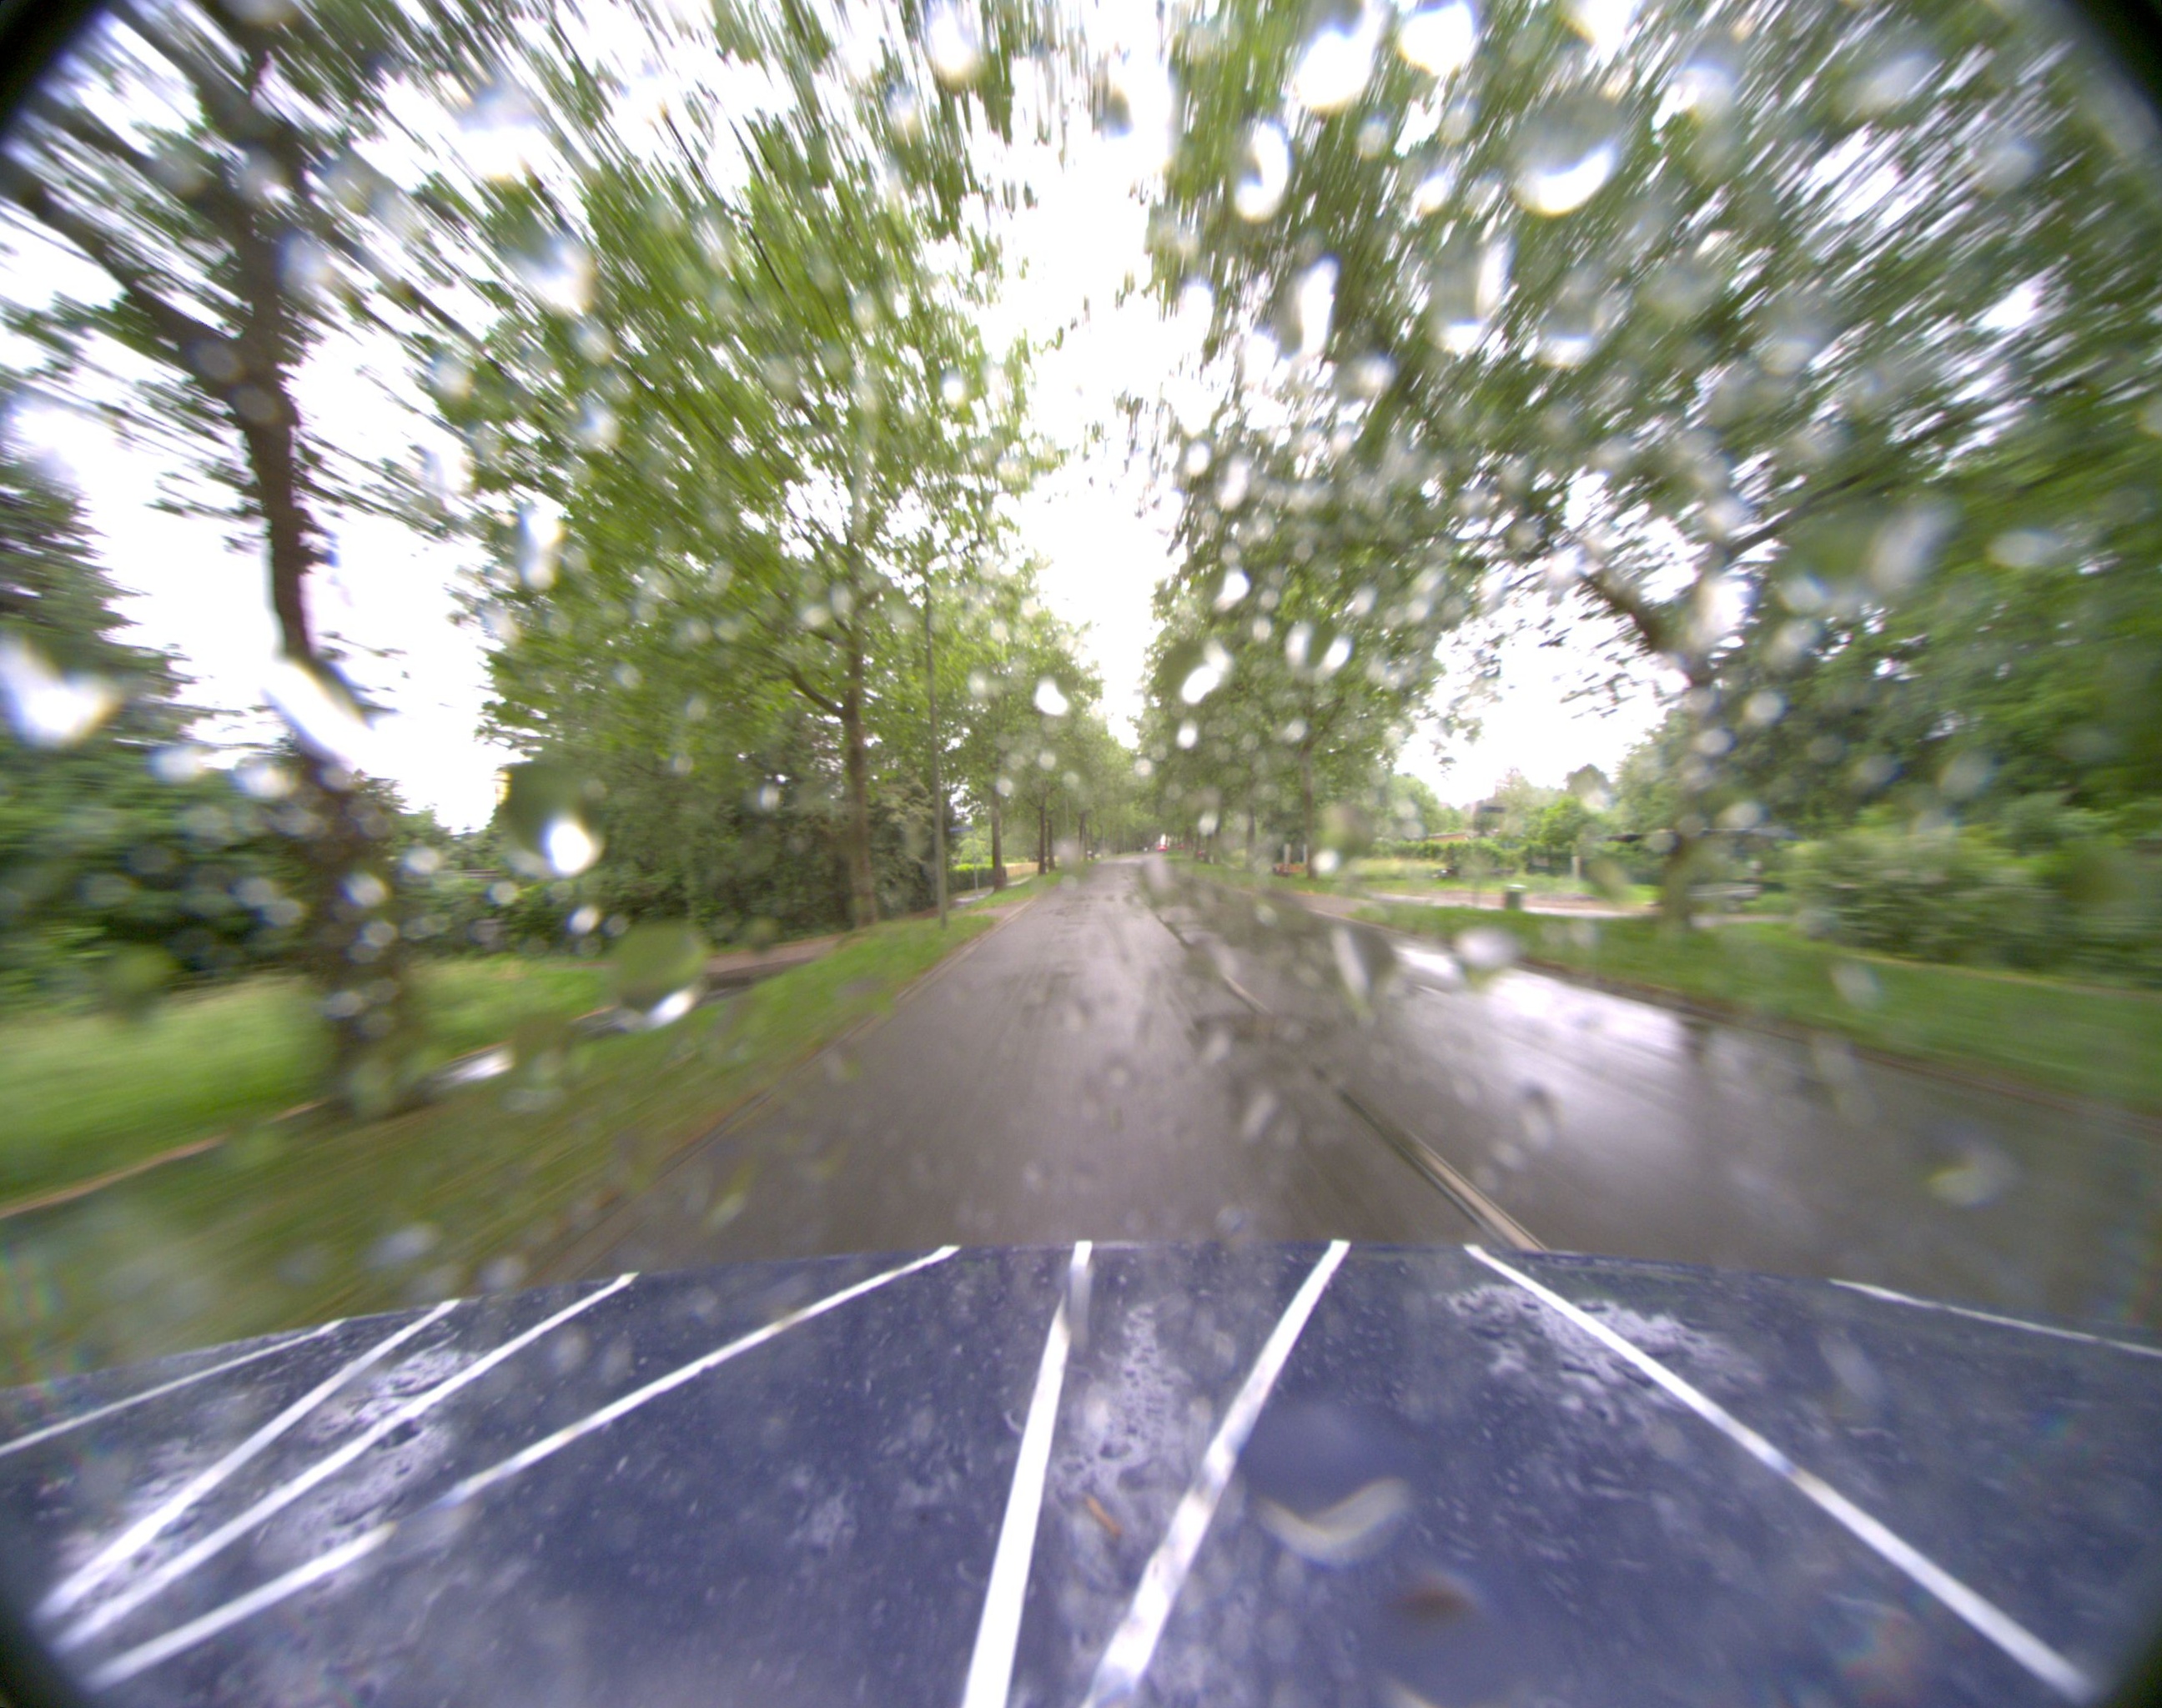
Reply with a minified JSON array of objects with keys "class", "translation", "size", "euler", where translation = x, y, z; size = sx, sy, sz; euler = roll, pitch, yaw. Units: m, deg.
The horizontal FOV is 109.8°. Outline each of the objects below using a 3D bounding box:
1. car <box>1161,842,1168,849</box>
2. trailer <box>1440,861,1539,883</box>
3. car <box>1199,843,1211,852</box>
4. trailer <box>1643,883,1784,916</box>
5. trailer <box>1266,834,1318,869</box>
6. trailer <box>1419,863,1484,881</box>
[{"class":"car","translation":[19.996,-2.035,182.395],"size":[1.593,1.445,3.373],"euler":[-1,1,3]},{"class":"trailer","translation":[23.074,0.993,43.106],"size":[4.327,1.026,2.382],"euler":[-2,1,2]},{"class":"car","translation":[25.191,-1.310,154.191],"size":[1.896,1.672,4.004],"euler":[-1,1,17]},{"class":"trailer","translation":[20.119,1.444,24.280],"size":[3.035,0.833,1.678],"euler":[-2,1,6]},{"class":"trailer","translation":[16.975,-0.271,61.497],"size":[2.804,2.648,6.653],"euler":[-1,1,5]},{"class":"trailer","translation":[22.596,1.091,46.407],"size":[3.082,0.939,1.769],"euler":[-1,1,3]}]
